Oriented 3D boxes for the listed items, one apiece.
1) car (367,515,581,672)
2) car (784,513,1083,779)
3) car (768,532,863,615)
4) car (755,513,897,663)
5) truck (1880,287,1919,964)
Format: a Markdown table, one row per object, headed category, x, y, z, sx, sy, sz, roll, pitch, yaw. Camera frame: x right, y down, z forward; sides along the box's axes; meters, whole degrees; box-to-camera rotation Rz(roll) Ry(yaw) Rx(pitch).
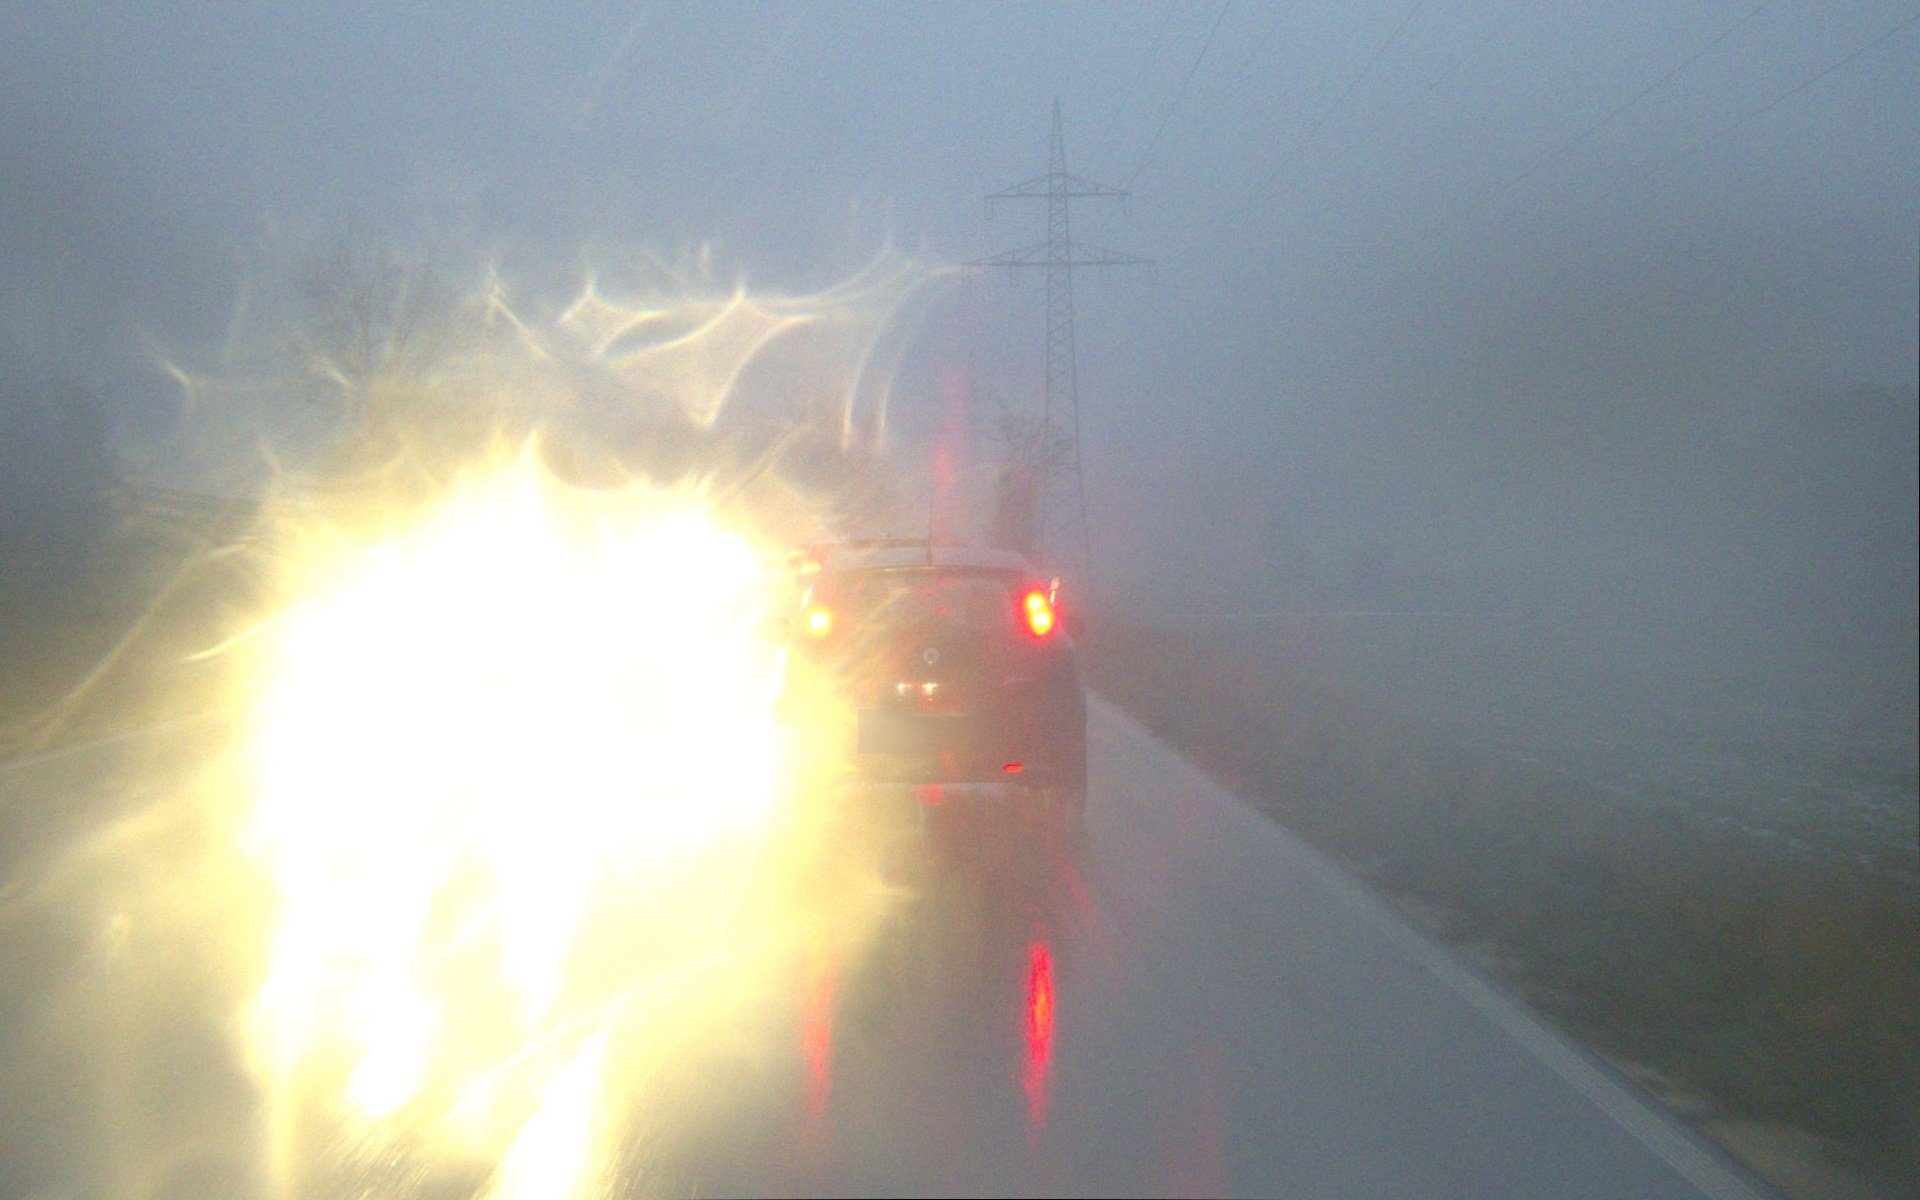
| category | x | y | z | sx | sy | sz | roll | pitch | yaw |
| --- | --- | --- | --- | --- | --- | --- | --- | --- | --- |
| car | -5.151 | -0.111 | 36.912 | 1.769 | 1.585 | 4.164 | 0 | 1 | -1 |
| car | -0.220 | 0.220 | 19.692 | 1.500 | 1.393 | 3.200 | 0 | 1 | -4 |
| car | -2.887 | -0.552 | 68.154 | 1.769 | 1.585 | 4.165 | 0 | 1 | -4 |
| car | -1.915 | -0.188 | 48.163 | 1.852 | 2.007 | 4.001 | 0 | 1 | -4 |
| truck | 5.584 | 0.165 | 11.734 | 2.533 | 2.968 | 7.858 | 0 | 1 | -2 |
